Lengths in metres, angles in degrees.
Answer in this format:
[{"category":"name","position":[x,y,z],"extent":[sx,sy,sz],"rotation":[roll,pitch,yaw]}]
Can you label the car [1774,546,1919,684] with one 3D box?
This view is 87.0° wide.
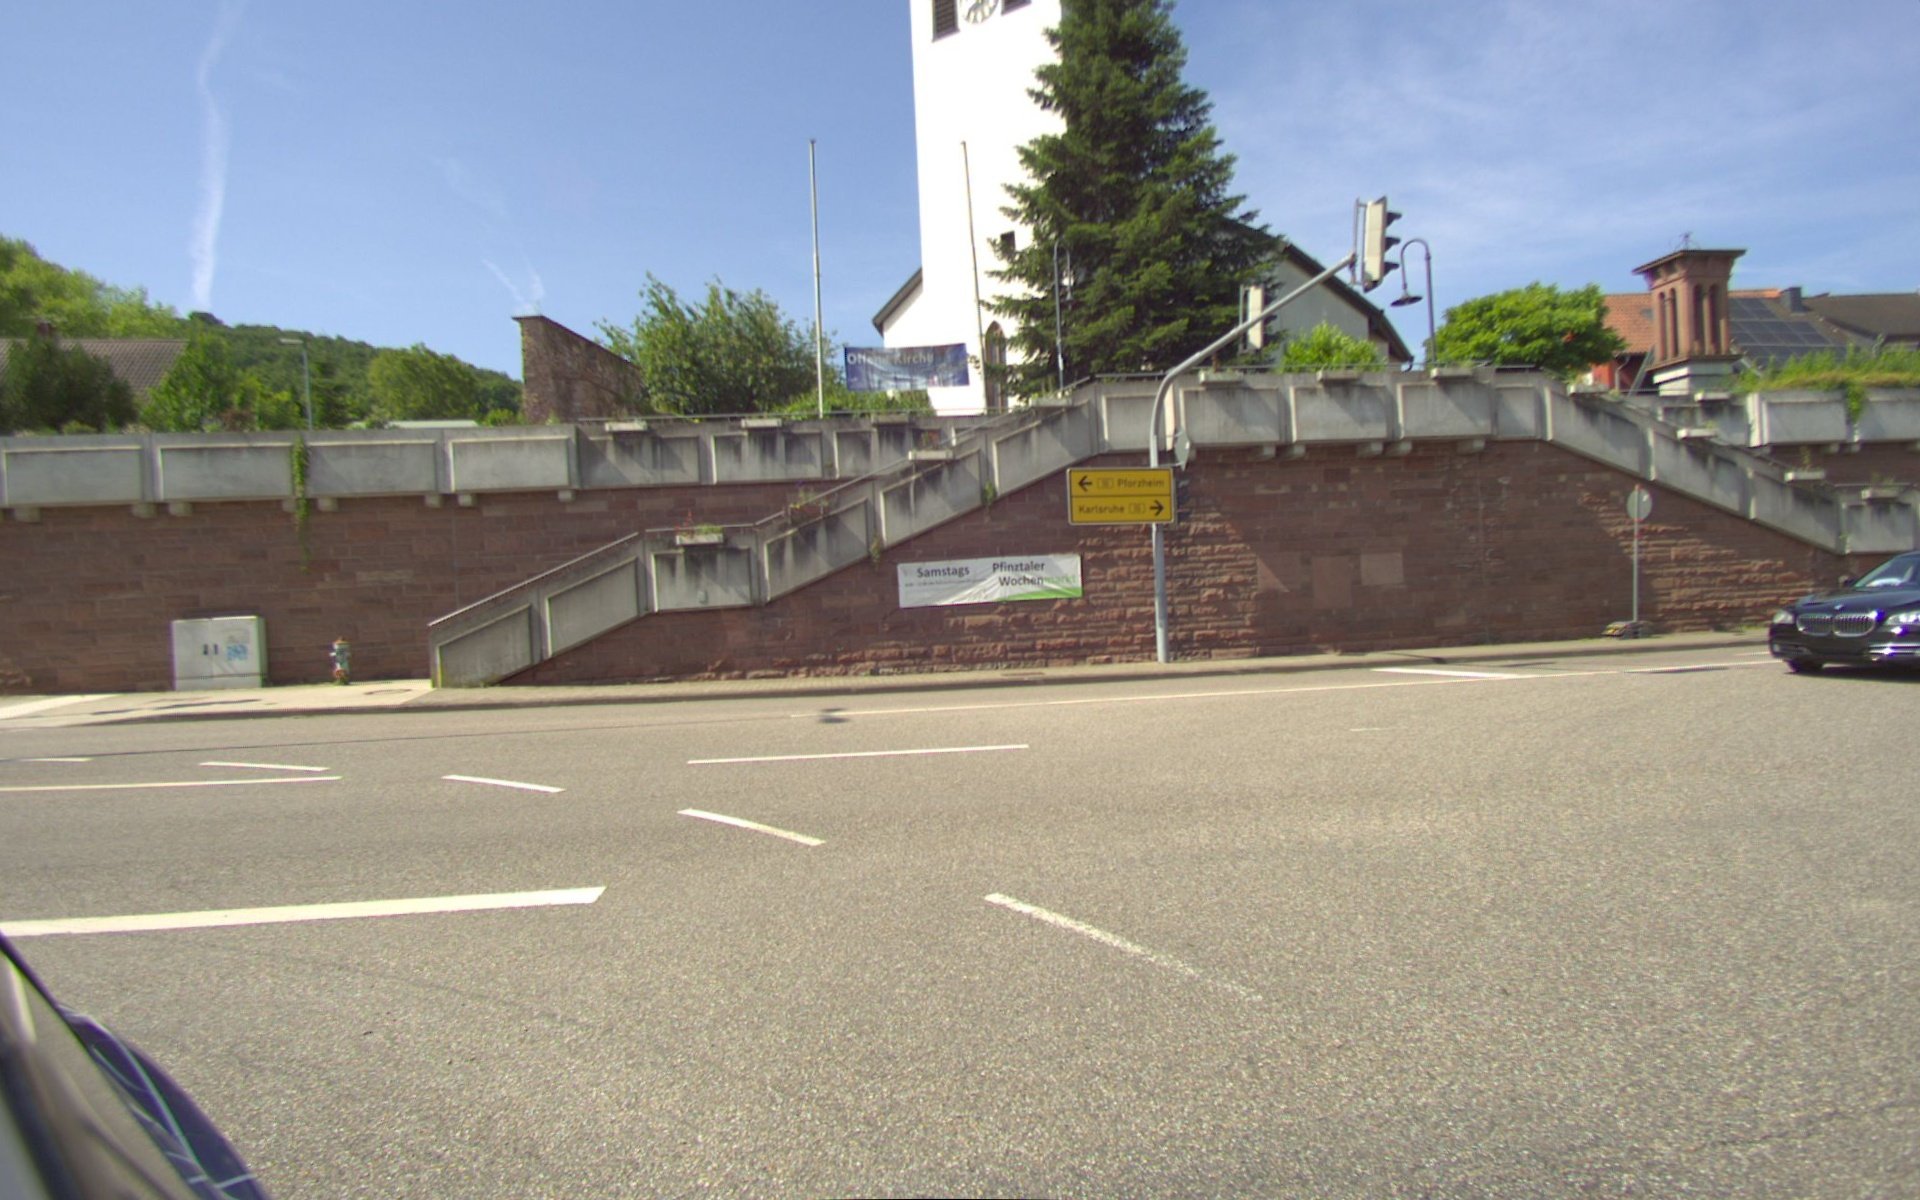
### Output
[{"category":"car","position":[11.852,0.065,11.648],"extent":[4.176,1.445,1.832],"rotation":[-3,0,-18]}]
